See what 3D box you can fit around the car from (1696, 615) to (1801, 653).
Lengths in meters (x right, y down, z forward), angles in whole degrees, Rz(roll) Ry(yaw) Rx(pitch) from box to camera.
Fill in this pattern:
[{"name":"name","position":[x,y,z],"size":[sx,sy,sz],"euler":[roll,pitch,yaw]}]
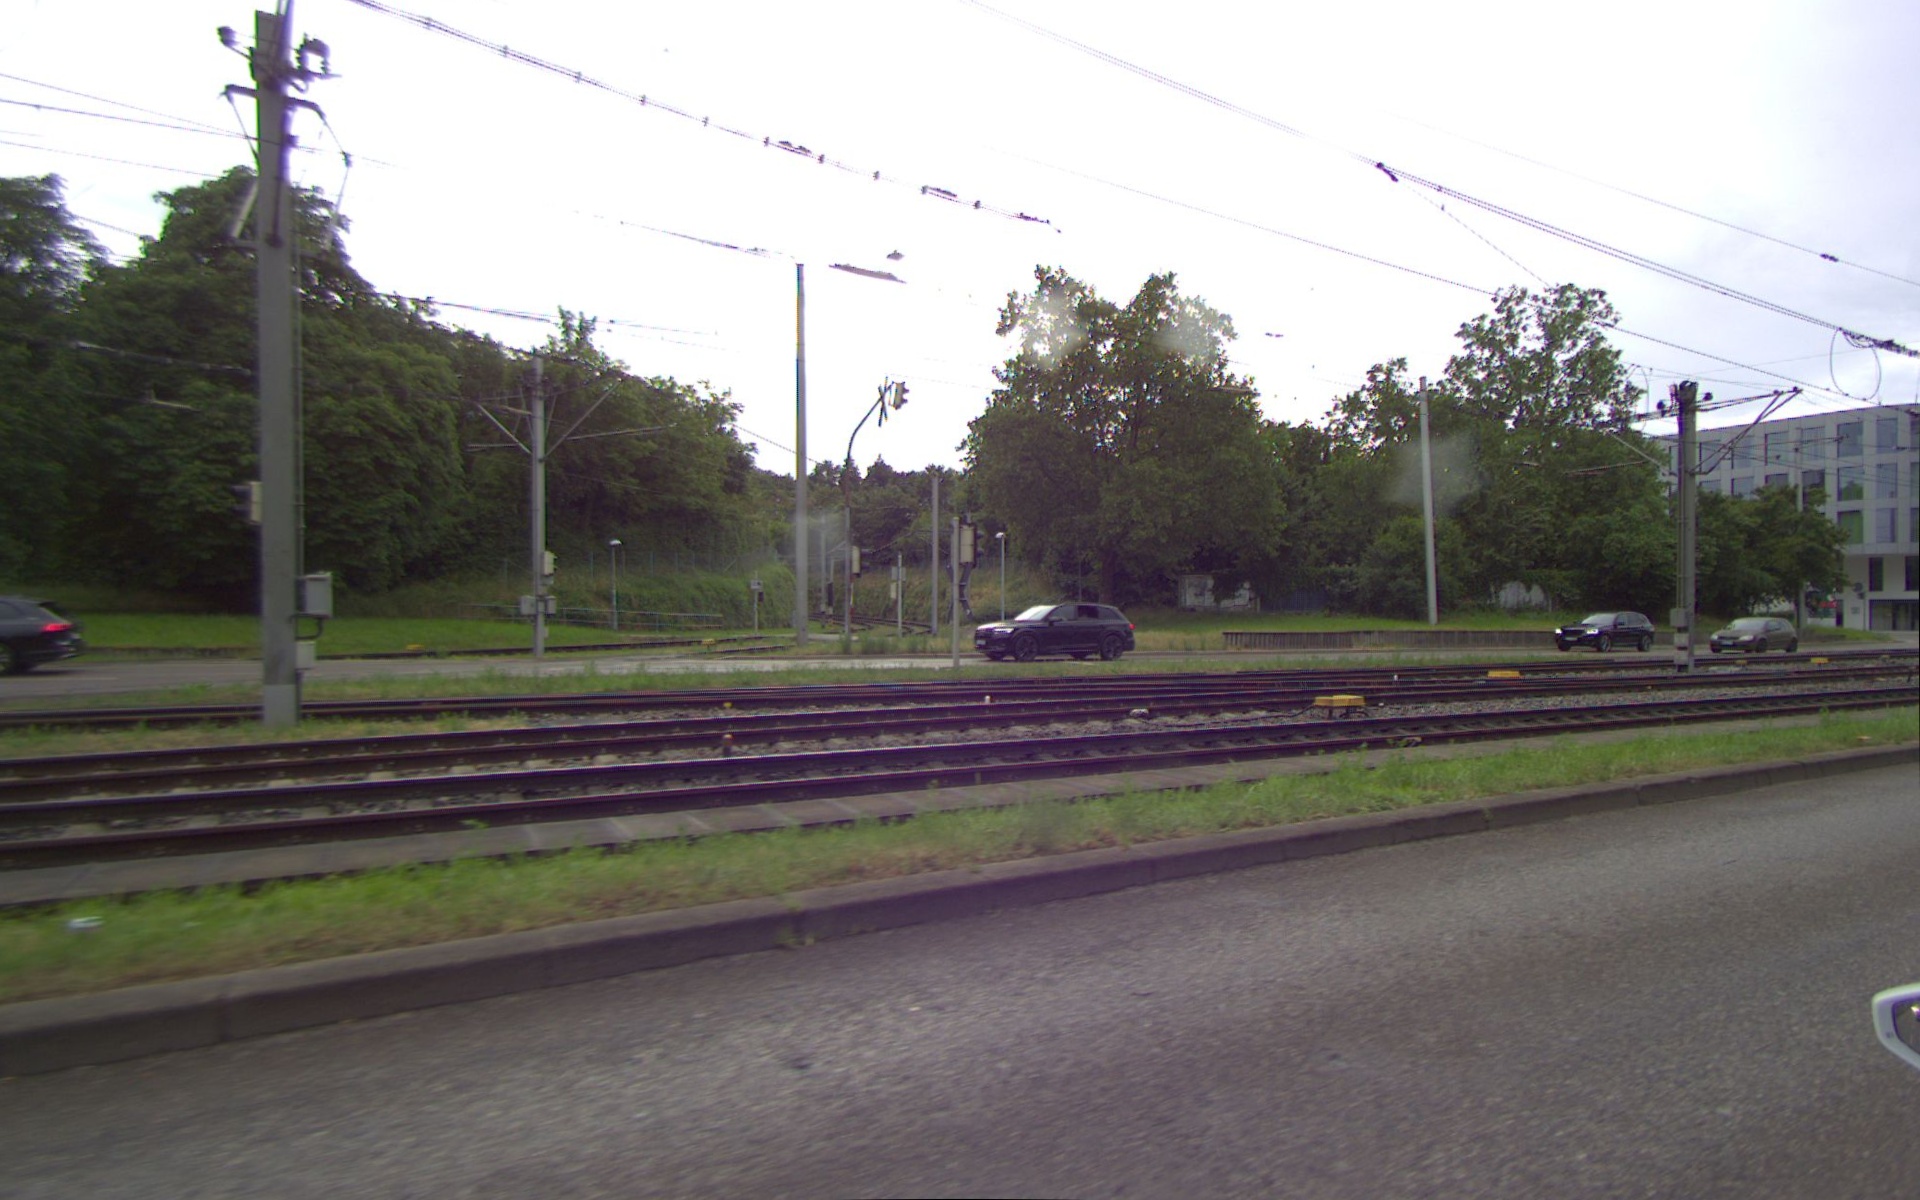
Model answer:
[{"name":"car","position":[32.694,1.386,41.651],"size":[4.254,1.506,1.884],"euler":[1,-1,-28]}]

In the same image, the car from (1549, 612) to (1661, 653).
[{"name":"car","position":[26.955,1.337,41.976],"size":[4.788,1.616,1.939],"euler":[1,-1,-29]}]

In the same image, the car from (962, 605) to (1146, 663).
[{"name":"car","position":[2.793,0.973,29.577],"size":[5.090,1.610,2.082],"euler":[1,-1,-26]}]

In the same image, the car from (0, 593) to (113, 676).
[{"name":"car","position":[-18.439,0.606,18.062],"size":[4.629,1.466,1.917],"euler":[1,-1,-31]}]
